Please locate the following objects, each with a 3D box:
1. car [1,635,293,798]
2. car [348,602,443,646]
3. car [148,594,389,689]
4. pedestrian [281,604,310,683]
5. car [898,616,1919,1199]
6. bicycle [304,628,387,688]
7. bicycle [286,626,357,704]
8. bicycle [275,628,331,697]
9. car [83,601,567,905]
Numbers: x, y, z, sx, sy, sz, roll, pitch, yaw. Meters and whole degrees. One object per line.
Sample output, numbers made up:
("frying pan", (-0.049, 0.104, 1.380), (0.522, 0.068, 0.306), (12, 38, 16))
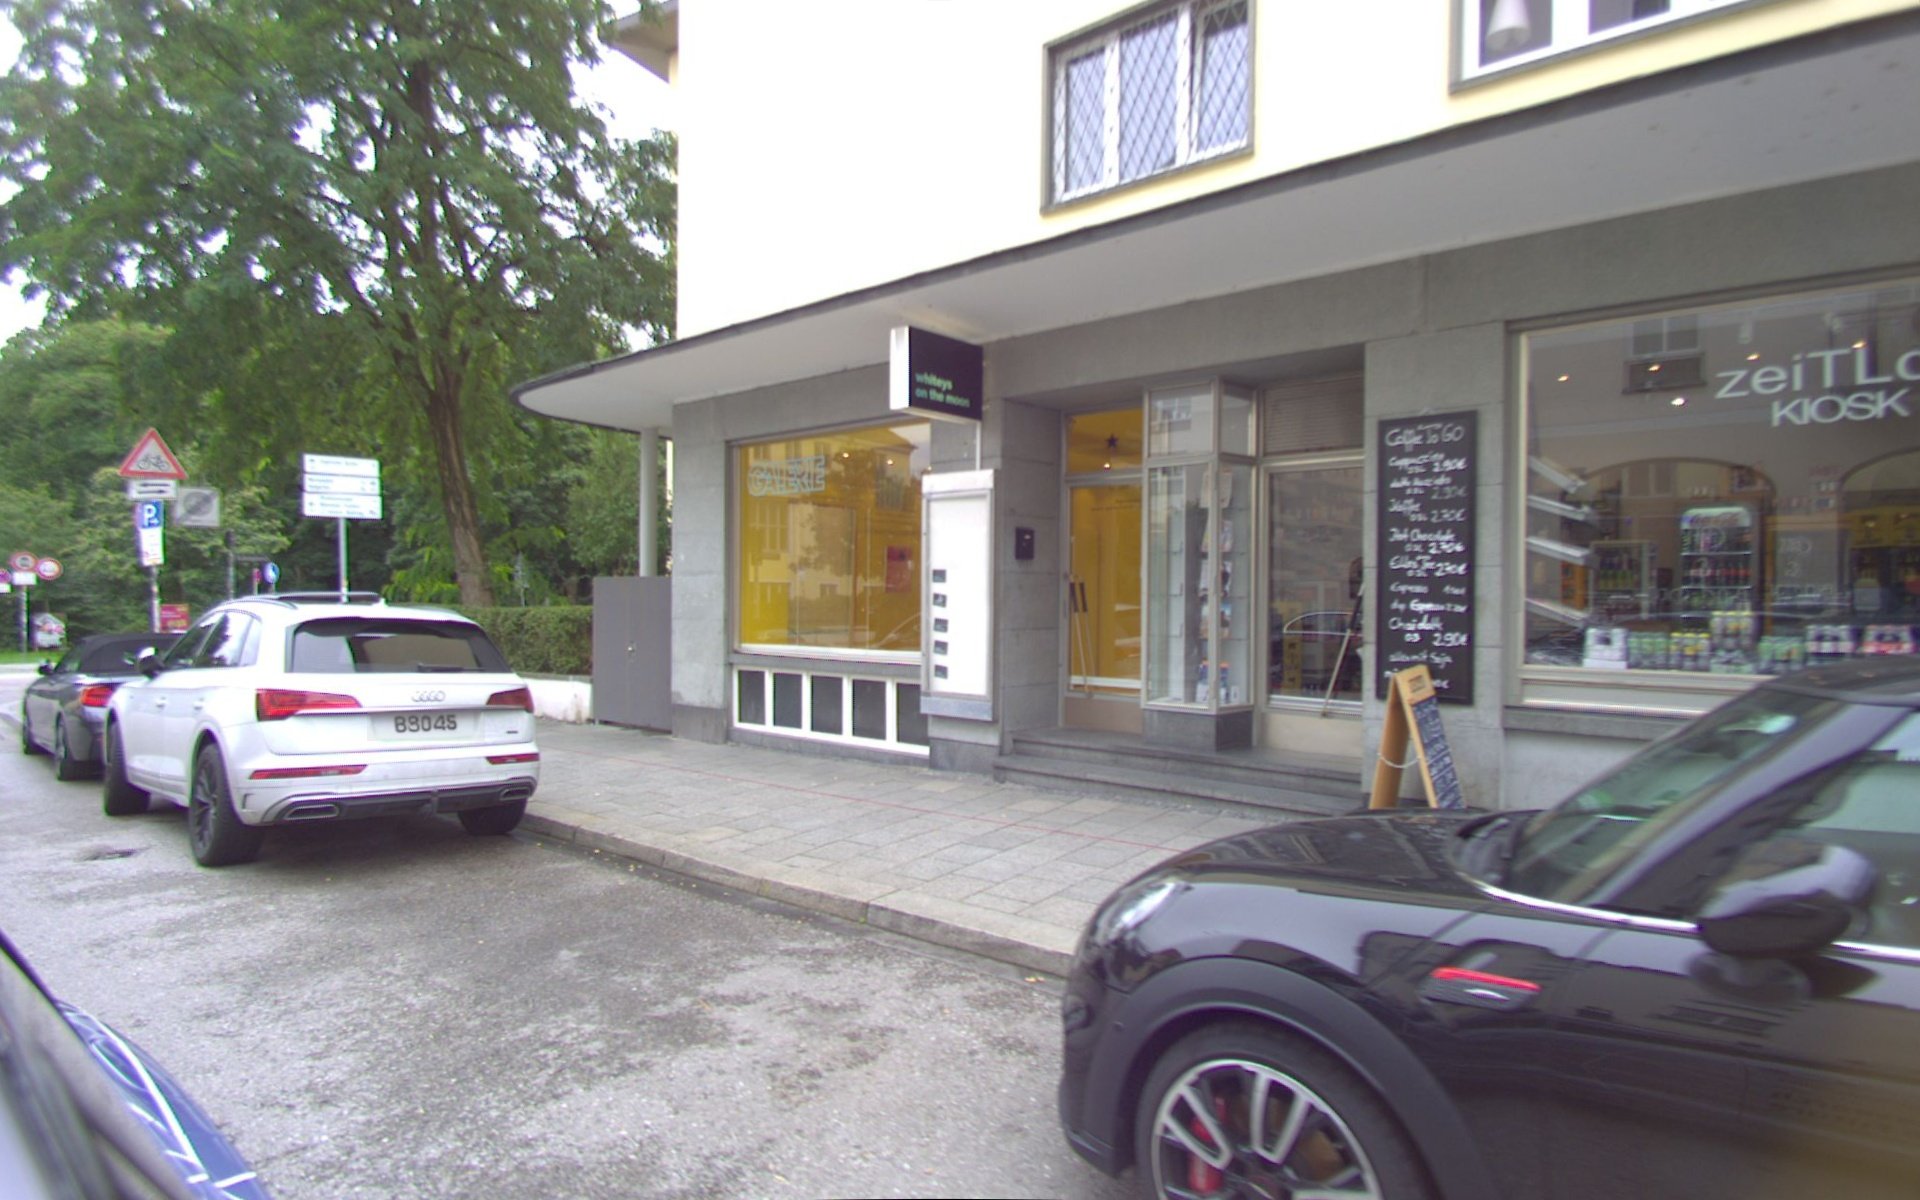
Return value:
("car", (-8.953, 1.114, 11.025), (4.095, 1.421, 1.727), (-1, -3, 41))
("car", (-28.339, 1.188, 50.949), (3.900, 2.120, 1.911), (0, 0, -19))
("car", (-16.367, 0.904, 24.228), (1.925, 2.016, 4.382), (1, 0, 25))
("pedestrian", (-15.394, 1.002, 23.460), (0.552, 1.812, 0.642), (0, -3, -32))
("car", (1.918, 0.785, 1.919), (4.095, 1.482, 1.661), (-1, -2, 41))
("bicycle", (-12.798, 1.177, 21.147), (0.575, 1.165, 1.952), (-2, -1, -1))
("bicycle", (-10.854, 1.070, 17.179), (1.854, 1.219, 0.555), (0, 0, 43))
("bicycle", (-12.285, 1.136, 18.983), (0.573, 1.134, 2.305), (-1, 0, -26))
("car", (-4.833, 0.898, 7.442), (4.335, 1.596, 1.784), (-2, -3, 41))
